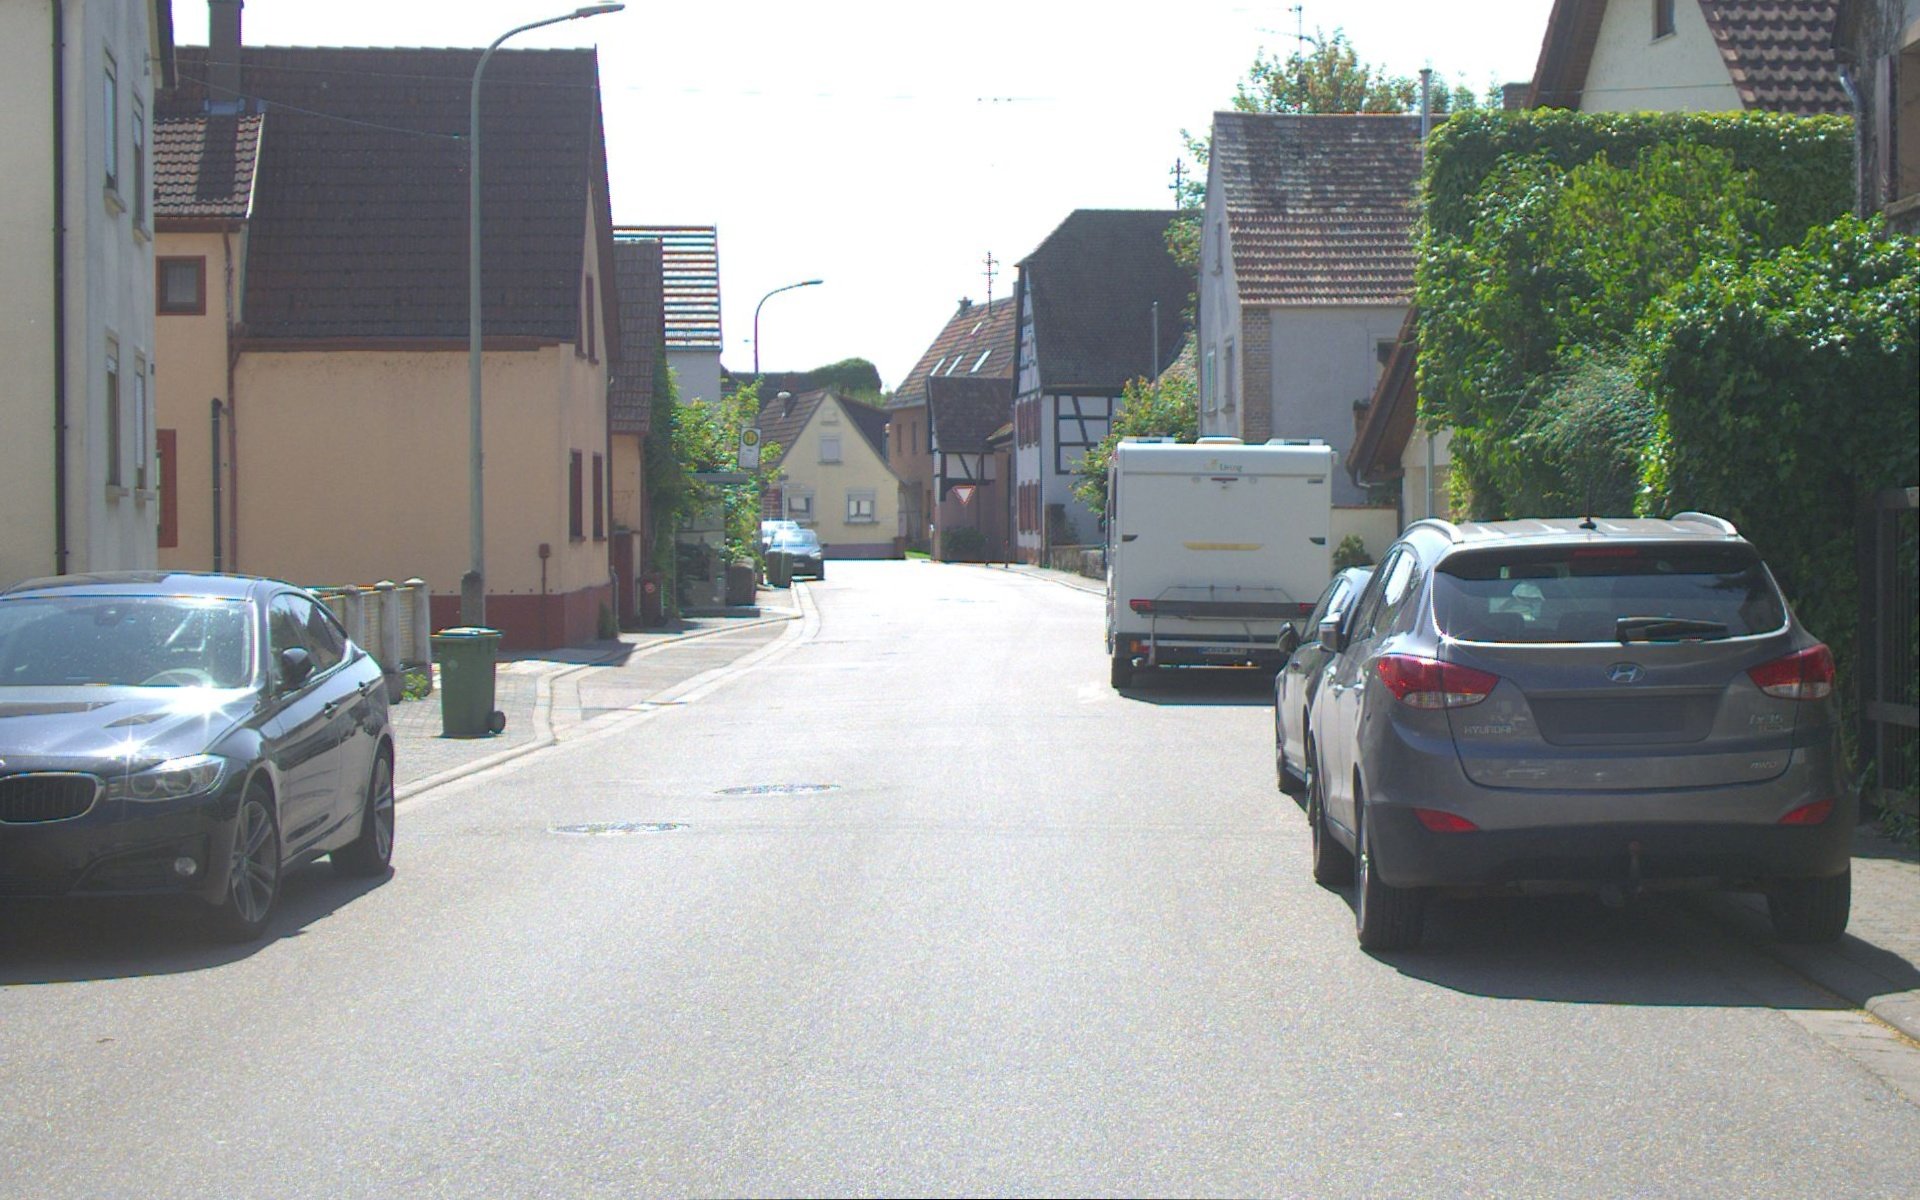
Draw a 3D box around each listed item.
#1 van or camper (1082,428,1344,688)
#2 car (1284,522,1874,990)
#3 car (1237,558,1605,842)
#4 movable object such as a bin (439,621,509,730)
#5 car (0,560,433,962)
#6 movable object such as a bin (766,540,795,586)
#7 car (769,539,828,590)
[{"bbox_3d":[2.718,-0.478,38.150,2.521,2.687,4.555,-1,1,0],"label":"van or camper"},{"bbox_3d":[2.393,0.506,14.339,1.794,1.625,4.361,-1,1,2],"label":"car"},{"bbox_3d":[2.617,0.508,20.336,1.712,1.459,4.065,-1,1,2],"label":"car"},{"bbox_3d":[-4.332,0.668,30.656,0.539,0.946,0.553,1,1,0],"label":"movable object such as a bin"},{"bbox_3d":[-3.727,0.595,15.601,1.844,1.521,4.765,0,1,1],"label":"car"},{"bbox_3d":[-4.660,-0.956,89.209,0.688,1.181,0.714,-1,1,0],"label":"movable object such as a bin"},{"bbox_3d":[-4.769,-1.058,101.705,1.511,1.431,3.511,-1,1,0],"label":"car"}]
